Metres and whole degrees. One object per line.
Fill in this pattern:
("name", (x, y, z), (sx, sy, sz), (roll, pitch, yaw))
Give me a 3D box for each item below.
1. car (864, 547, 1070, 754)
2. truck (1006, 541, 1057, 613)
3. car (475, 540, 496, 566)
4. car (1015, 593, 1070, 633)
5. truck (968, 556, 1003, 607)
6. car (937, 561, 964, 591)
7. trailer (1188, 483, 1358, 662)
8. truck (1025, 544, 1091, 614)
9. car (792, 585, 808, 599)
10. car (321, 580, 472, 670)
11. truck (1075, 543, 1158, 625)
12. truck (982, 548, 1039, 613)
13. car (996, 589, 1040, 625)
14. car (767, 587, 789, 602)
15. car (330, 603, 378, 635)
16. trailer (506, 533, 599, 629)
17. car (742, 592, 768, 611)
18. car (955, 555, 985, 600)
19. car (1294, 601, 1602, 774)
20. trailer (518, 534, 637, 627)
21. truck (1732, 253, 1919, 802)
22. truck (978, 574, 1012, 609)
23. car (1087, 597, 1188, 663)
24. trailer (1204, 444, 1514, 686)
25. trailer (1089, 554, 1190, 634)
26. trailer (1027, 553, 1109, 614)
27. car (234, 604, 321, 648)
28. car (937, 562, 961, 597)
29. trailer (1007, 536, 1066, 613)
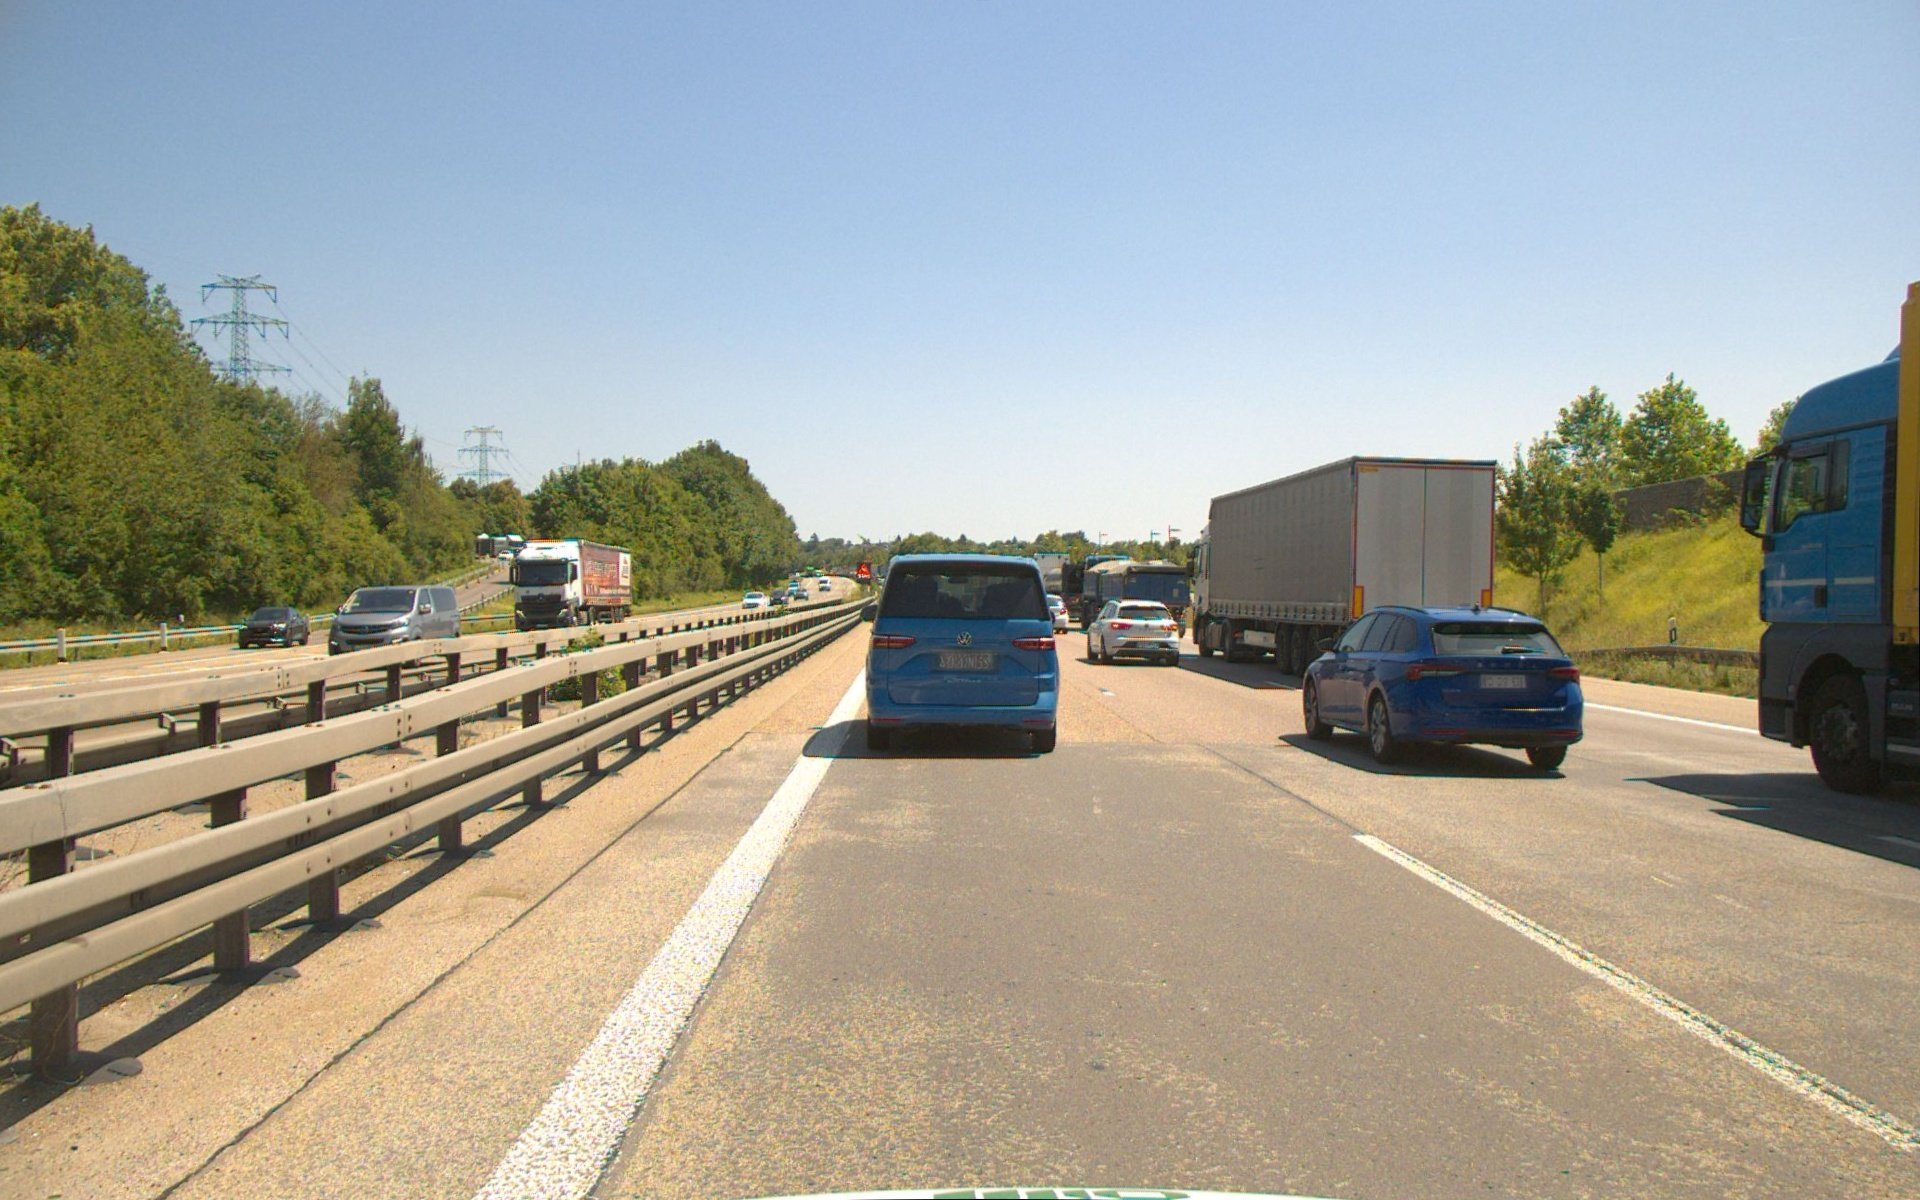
("car", (0.051, 0.477, 17.271), (1.863, 1.870, 3.999), (1, 0, -1))
("truck", (5.437, -1.693, 126.876), (3.584, 5.270, 5.708), (1, 0, 0))
("car", (-58.681, -5.750, 204.472), (2.038, 2.930, 6.692), (0, 0, -20))
("car", (3.209, 0.500, 65.184), (1.803, 1.480, 3.998), (1, 0, -2))
("truck", (2.572, -1.784, 169.707), (3.006, 5.006, 10.685), (1, 0, -2))
("car", (-0.994, -2.343, 164.189), (2.499, 2.765, 5.619), (1, 0, -2))
("trailer", (7.700, -0.664, 41.547), (2.865, 4.114, 6.409), (1, 1, -2))
("truck", (6.103, -1.238, 104.555), (3.552, 4.166, 7.522), (1, 0, -1))
("car", (-19.518, -0.977, 202.279), (1.738, 1.659, 3.948), (1, 0, -3))
("car", (-13.174, 0.572, 39.004), (1.953, 1.975, 4.895), (0, 0, -1))
("truck", (6.786, -0.741, 72.602), (2.688, 3.369, 7.131), (1, 1, -2))
("truck", (4.230, -1.571, 143.887), (3.549, 5.304, 15.678), (1, 0, -3))
("car", (2.630, 0.329, 75.892), (1.745, 1.551, 3.998), (1, 0, -2))
("car", (-18.014, -0.517, 163.836), (1.839, 1.472, 4.143), (-1, 0, -3))
("car", (-30.010, 0.917, 81.948), (1.656, 1.481, 4.331), (1, 0, -13))
("trailer", (-18.170, -0.859, 74.058), (2.701, 4.045, 6.129), (-1, 1, -2))
("car", (-16.352, 0.131, 132.035), (1.814, 1.493, 4.302), (-1, 0, -3))
("car", (1.200, -2.671, 204.112), (3.154, 5.349, 8.138), (1, 0, -3))
("car", (4.680, 0.770, 16.559), (1.671, 1.466, 4.426), (1, 0, -1))
("trailer", (-18.343, -0.940, 80.437), (2.707, 4.045, 14.677), (-1, 1, -2))
("truck", (8.702, -0.519, 10.456), (2.709, 4.181, 9.950), (1, 0, -1))
("truck", (1.960, -0.459, 93.420), (1.690, 1.890, 3.998), (1, 0, -2))
("car", (4.016, 0.652, 37.961), (1.829, 1.385, 4.000), (1, 0, -1))
("trailer", (7.876, -0.643, 35.261), (2.902, 4.120, 13.747), (1, 0, -2))
("trailer", (6.950, -0.321, 65.202), (2.688, 2.886, 9.113), (1, 1, -2))
("trailer", (6.080, -0.837, 96.066), (3.572, 3.133, 15.769), (1, 0, 0))
("car", (-26.380, 0.982, 64.123), (1.957, 1.603, 5.262), (1, 0, -10))
("car", (-1.777, -3.141, 261.906), (3.154, 5.349, 8.138), (1, 0, -3))
("trailer", (5.464, -1.725, 120.546), (3.572, 5.226, 13.075), (1, 0, 0))
